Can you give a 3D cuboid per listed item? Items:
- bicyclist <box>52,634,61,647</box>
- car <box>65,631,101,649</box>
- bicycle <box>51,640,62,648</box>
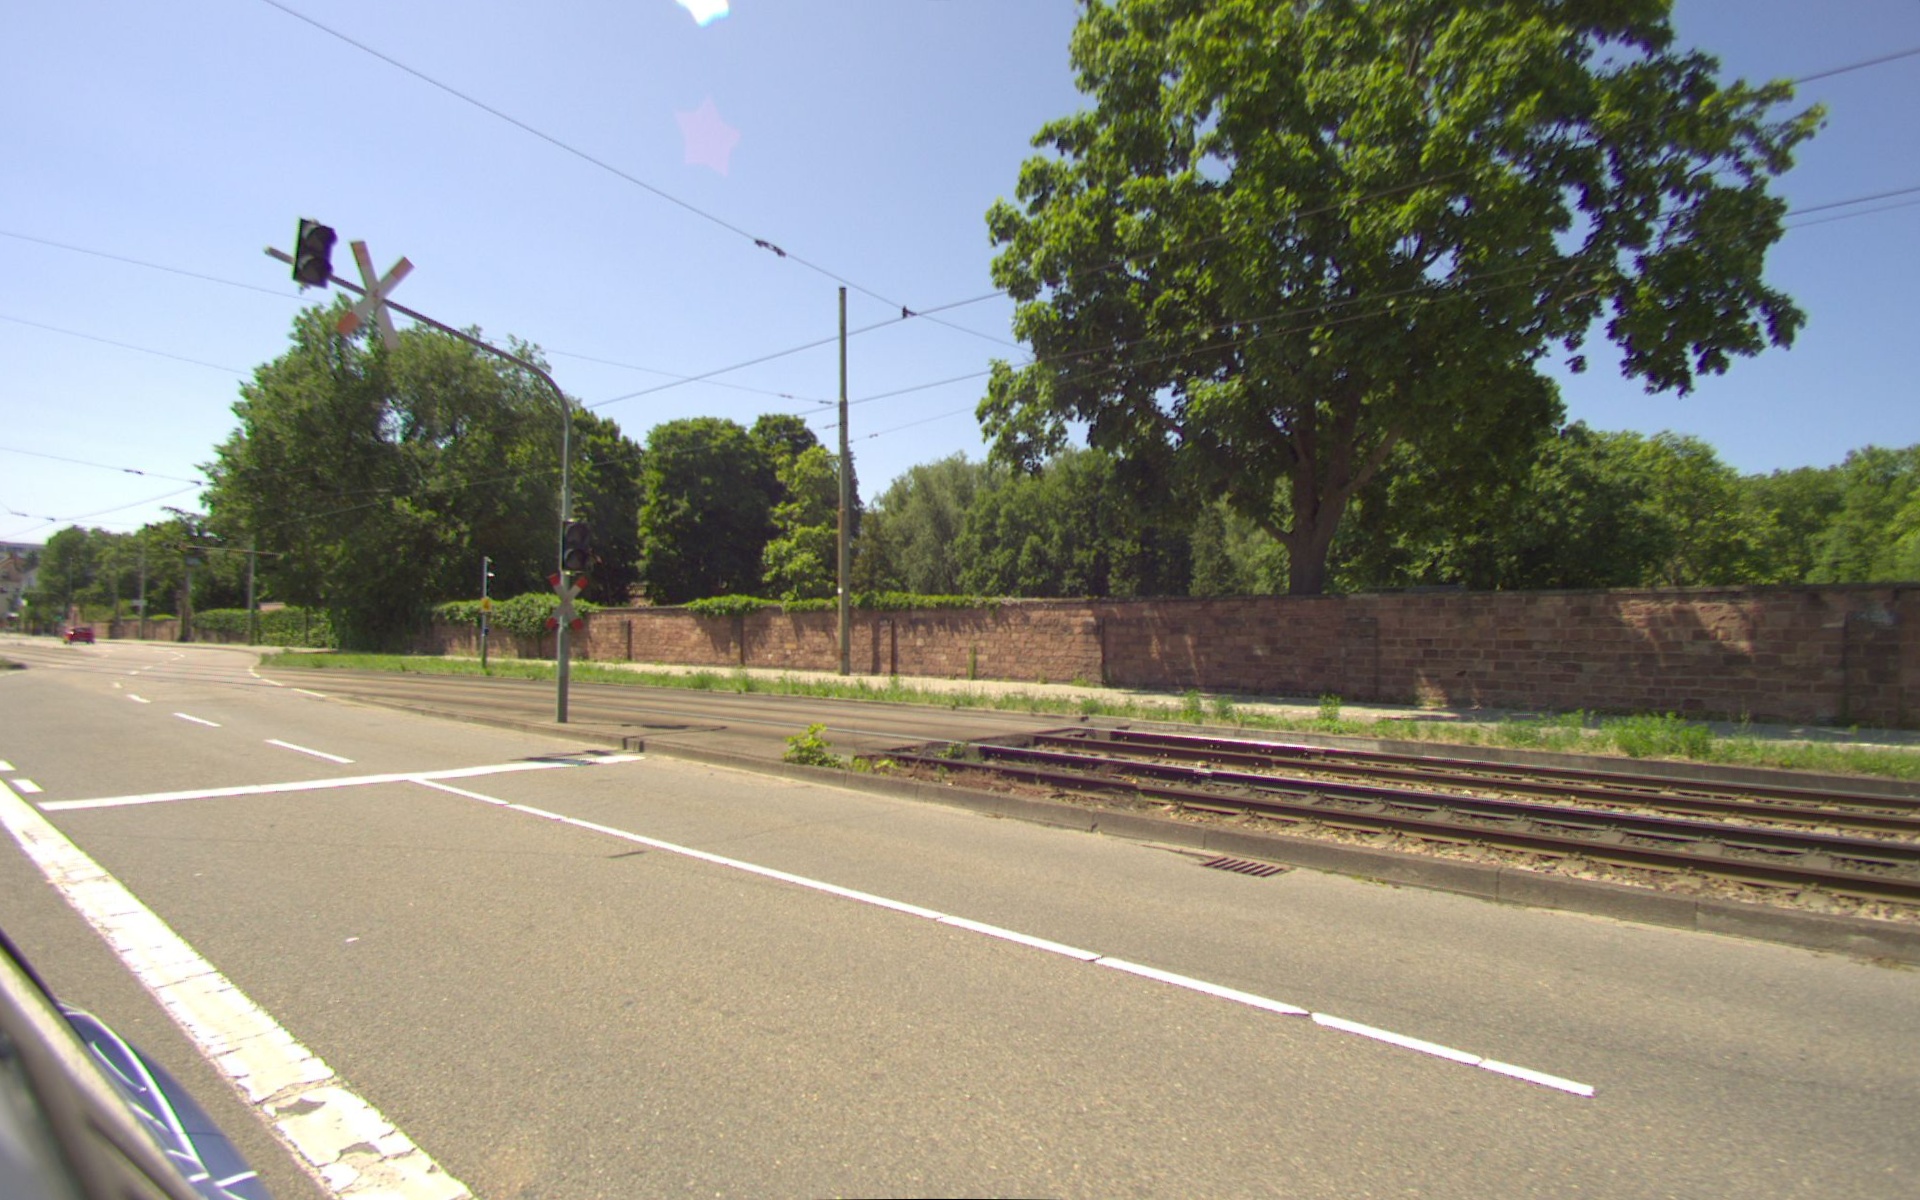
[{"bbox_3d":[-106.164,4.802,118.900,0.662,1.508,0.646,-2,-3,40],"label":"bicyclist"},{"bbox_3d":[-73.874,3.354,85.323,1.683,1.425,4.293,1,-2,-33],"label":"car"},{"bbox_3d":[-106.132,5.164,118.879,2.113,0.964,0.645,-2,-3,40],"label":"bicycle"}]
